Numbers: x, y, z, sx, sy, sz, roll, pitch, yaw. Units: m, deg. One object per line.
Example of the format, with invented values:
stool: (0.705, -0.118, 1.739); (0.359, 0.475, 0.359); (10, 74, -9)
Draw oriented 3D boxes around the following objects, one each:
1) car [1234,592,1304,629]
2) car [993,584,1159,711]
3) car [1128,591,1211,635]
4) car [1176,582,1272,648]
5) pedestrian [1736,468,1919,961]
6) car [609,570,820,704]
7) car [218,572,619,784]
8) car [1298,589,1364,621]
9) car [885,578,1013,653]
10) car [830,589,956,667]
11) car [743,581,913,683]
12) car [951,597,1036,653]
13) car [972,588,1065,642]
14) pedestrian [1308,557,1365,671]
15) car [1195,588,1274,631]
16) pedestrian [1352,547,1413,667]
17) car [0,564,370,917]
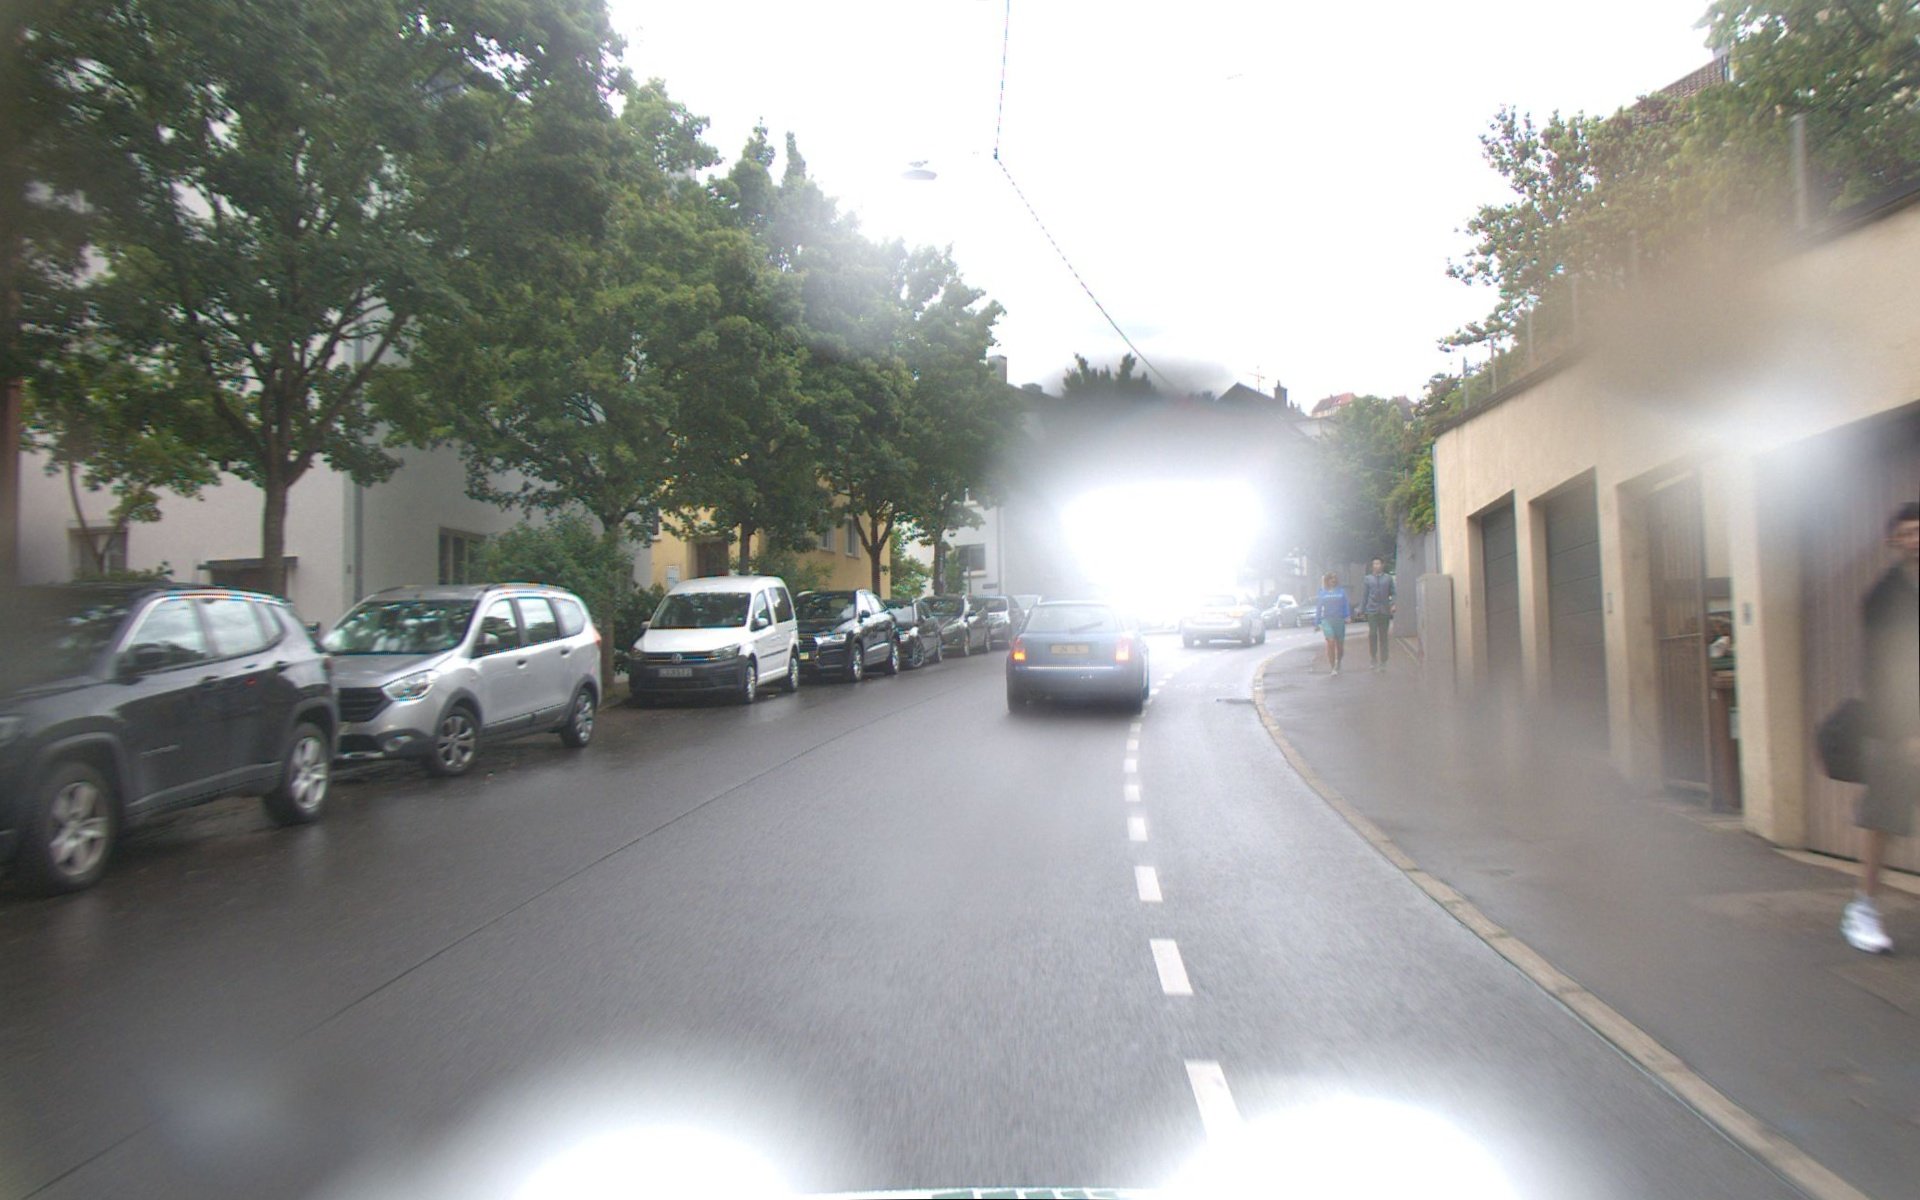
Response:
car: (14.137, 0.507, 75.454); (1.771, 1.511, 4.227); (-5, -3, 30)
car: (1.638, 0.571, 21.907); (1.814, 1.438, 4.365); (-3, 0, 8)
car: (8.400, 0.530, 65.908); (1.750, 1.541, 4.339); (-6, -3, 28)
car: (7.040, 0.346, 43.741); (1.909, 1.588, 4.266); (1, 1, 17)
pedestrian: (3.788, 0.434, 6.721); (0.880, 1.883, 0.803); (-1, 0, 4)
car: (-3.578, 0.504, 24.965); (1.814, 1.808, 4.486); (-1, 0, 10)
car: (-4.933, 0.641, 15.858); (1.709, 1.720, 4.604); (-1, 0, 9)
car: (17.855, 0.249, 79.516); (1.771, 1.479, 4.587); (-2, -1, 31)
car: (-0.200, 0.356, 40.928); (1.815, 1.720, 4.557); (-1, 0, 18)
car: (-1.350, 0.554, 35.405); (1.814, 1.525, 4.745); (-1, 0, 8)
car: (-2.320, 0.547, 30.362); (1.814, 1.697, 4.592); (-2, 0, 12)
car: (0.969, 0.650, 45.866); (1.579, 1.421, 4.327); (-2, 0, 11)
car: (1.844, 0.434, 50.710); (1.737, 1.567, 4.519); (-1, 0, 17)
pedestrian: (6.116, 0.225, 26.929); (0.758, 1.789, 1.012); (-3, -1, 9)
car: (11.842, 0.435, 71.135); (1.752, 1.675, 4.336); (-6, -4, 31)
pedestrian: (6.839, 0.112, 26.818); (0.759, 1.864, 1.252); (-3, -1, 9)
car: (-5.313, 0.675, 9.857); (1.750, 1.670, 4.482); (-1, 0, 3)
